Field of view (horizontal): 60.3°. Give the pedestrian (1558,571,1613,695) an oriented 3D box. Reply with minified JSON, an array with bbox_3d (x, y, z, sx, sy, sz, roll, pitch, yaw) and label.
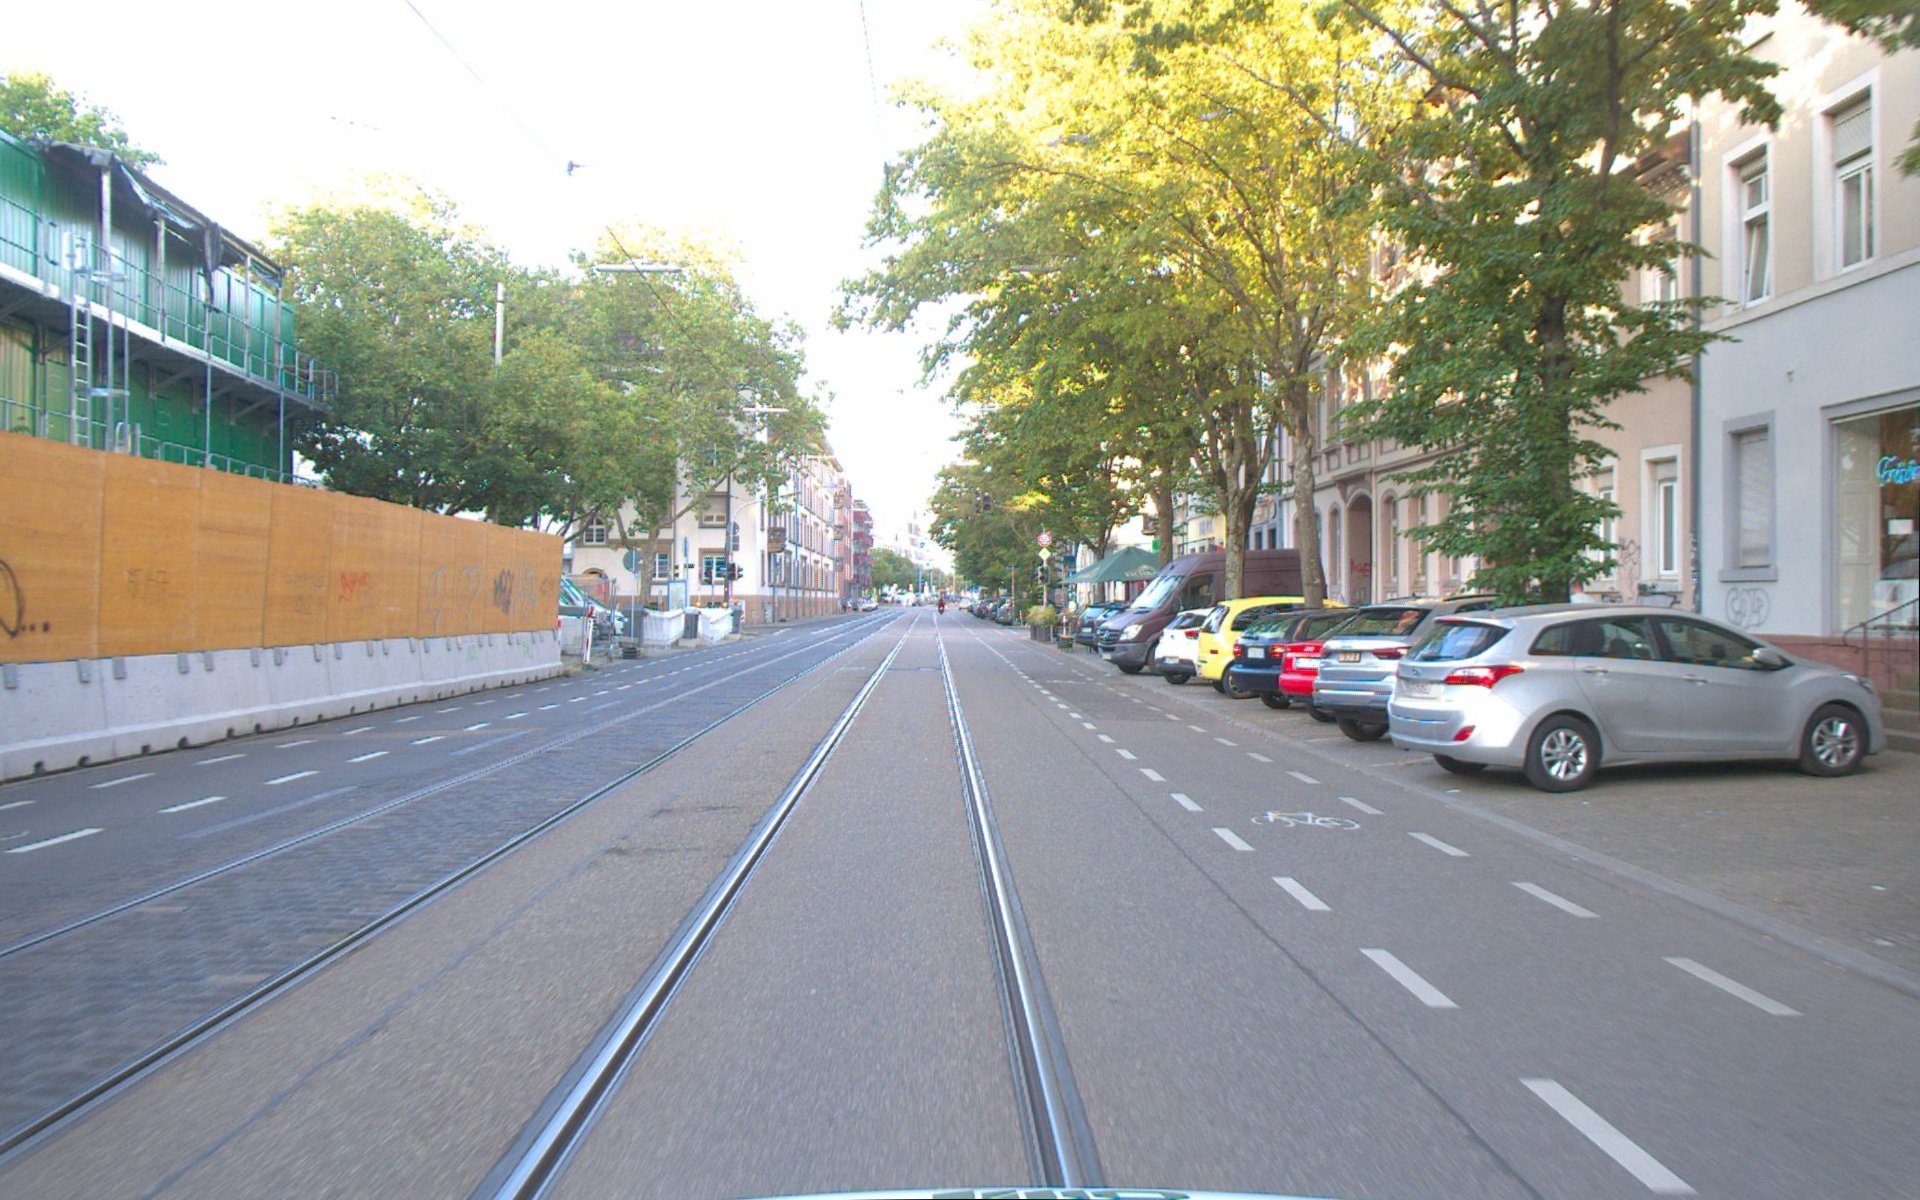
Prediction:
[{"bbox_3d":[9.454,0.498,25.007,0.554,1.846,0.606,0,0,-5],"label":"pedestrian"}]

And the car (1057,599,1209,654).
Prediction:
[{"bbox_3d":[5.192,0.788,49.698,4.123,1.525,1.992,-1,-1,-26],"label":"car"}]

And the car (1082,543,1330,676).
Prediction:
[{"bbox_3d":[5.436,0.180,36.682,5.016,2.689,2.011,-2,0,-18],"label":"car"}]

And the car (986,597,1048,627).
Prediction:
[{"bbox_3d":[3.563,0.767,103.753,3.808,1.881,1.861,0,-1,0],"label":"car"}]

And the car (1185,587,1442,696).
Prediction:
[{"bbox_3d":[5.893,0.689,27.908,3.870,1.648,1.920,-2,-1,-1],"label":"car"}]

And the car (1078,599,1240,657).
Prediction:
[{"bbox_3d":[5.632,0.783,46.888,4.109,1.488,1.999,-1,-1,-17],"label":"car"}]

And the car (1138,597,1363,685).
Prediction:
[{"bbox_3d":[5.616,0.774,31.983,3.901,1.512,1.905,-2,-1,-25],"label":"car"}]

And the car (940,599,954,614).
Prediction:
[{"bbox_3d":[-1.730,0.872,223.693,1.859,2.049,3.999,1,0,-1],"label":"car"}]

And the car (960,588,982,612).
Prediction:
[{"bbox_3d":[0.962,-0.005,145.182,1.768,2.049,3.999,1,0,-1],"label":"car"}]

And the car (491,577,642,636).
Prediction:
[{"bbox_3d":[-14.471,0.230,61.026,4.921,1.979,2.228,2,0,3],"label":"car"}]

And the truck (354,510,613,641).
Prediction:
[{"bbox_3d":[-14.101,-0.722,49.326,6.919,3.541,2.539,2,0,-5],"label":"truck"}]

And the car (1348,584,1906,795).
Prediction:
[{"bbox_3d":[5.833,0.724,14.699,4.176,1.576,2.014,-2,0,-12],"label":"car"}]

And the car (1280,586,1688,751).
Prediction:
[{"bbox_3d":[5.919,0.717,18.688,4.195,1.588,1.883,-2,-1,-24],"label":"car"}]

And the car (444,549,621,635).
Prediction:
[{"bbox_3d":[-14.183,-0.274,55.173,5.293,2.603,2.225,2,0,-4],"label":"car"}]

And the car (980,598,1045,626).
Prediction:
[{"bbox_3d":[3.109,0.737,99.033,3.808,1.620,1.861,0,0,0],"label":"car"}]

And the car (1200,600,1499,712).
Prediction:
[{"bbox_3d":[5.810,0.793,24.654,4.072,1.450,1.904,-2,-1,-27],"label":"car"}]

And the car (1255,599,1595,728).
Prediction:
[{"bbox_3d":[6.095,0.781,21.640,4.072,1.450,1.881,-2,-1,-27],"label":"car"}]

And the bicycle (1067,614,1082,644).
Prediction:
[{"bbox_3d":[4.177,1.050,60.420,0.410,1.033,1.829,1,0,-1],"label":"bicycle"}]

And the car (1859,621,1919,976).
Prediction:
[{"bbox_3d":[6.060,0.739,6.847,4.196,1.416,2.000,-2,0,-25],"label":"car"}]

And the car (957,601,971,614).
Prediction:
[{"bbox_3d":[0.593,1.041,235.061,1.923,1.749,3.999,1,0,-1],"label":"car"}]

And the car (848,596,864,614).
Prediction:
[{"bbox_3d":[-13.122,0.582,208.607,1.859,2.216,3.999,1,0,-1],"label":"car"}]

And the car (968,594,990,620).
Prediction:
[{"bbox_3d":[1.571,0.572,137.855,1.686,2.049,3.999,1,0,-1],"label":"car"}]
